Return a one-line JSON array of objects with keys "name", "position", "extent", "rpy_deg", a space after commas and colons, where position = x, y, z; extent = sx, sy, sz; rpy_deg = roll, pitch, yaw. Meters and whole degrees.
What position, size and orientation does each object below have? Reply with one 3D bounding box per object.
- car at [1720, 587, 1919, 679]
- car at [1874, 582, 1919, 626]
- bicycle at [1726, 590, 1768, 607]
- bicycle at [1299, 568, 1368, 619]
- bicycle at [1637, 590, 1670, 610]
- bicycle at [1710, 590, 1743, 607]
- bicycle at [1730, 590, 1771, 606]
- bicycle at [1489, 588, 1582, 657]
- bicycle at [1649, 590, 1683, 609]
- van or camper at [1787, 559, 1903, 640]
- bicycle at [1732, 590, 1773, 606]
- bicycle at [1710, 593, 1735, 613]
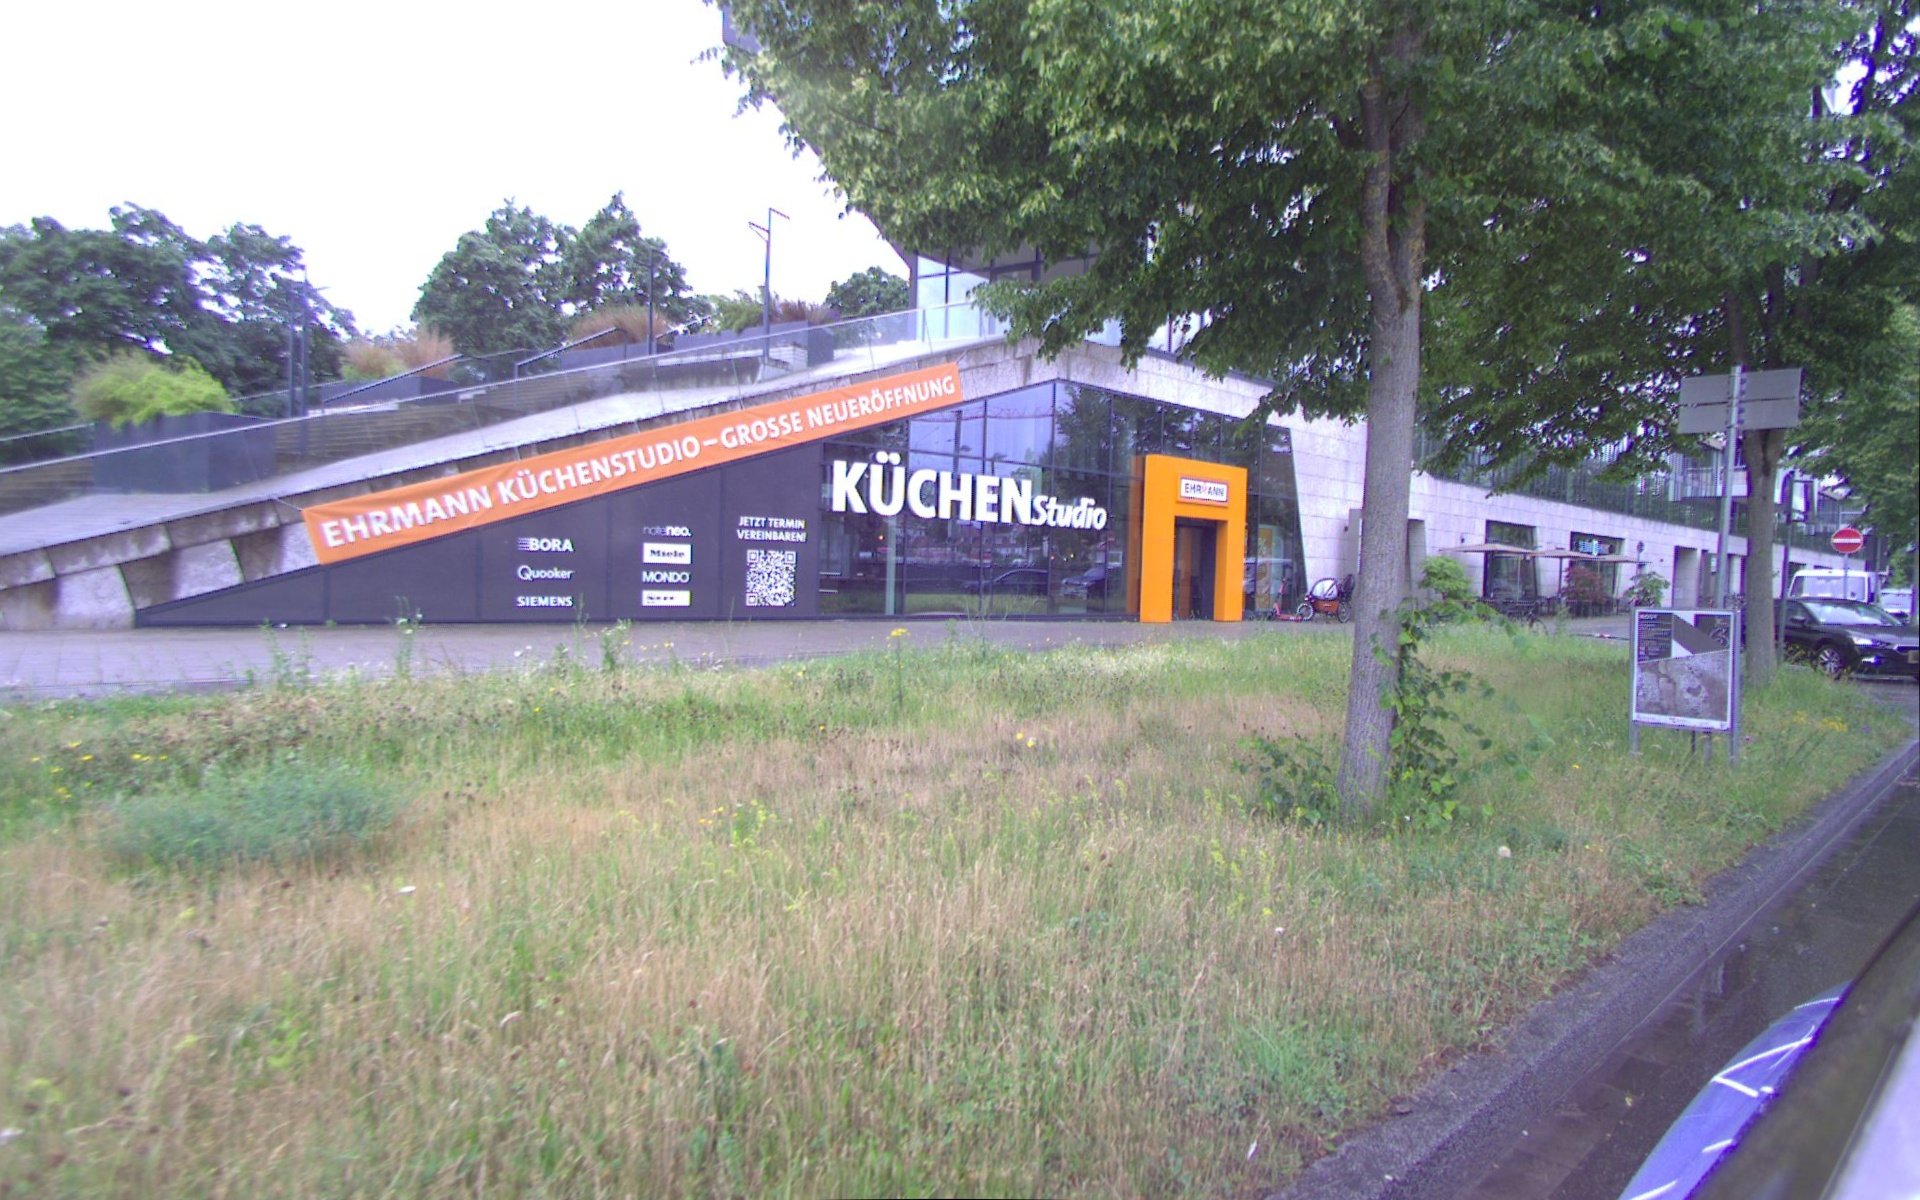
[{"name": "car", "position": [16.229, 0.515, 18.629], "extent": [1.804, 1.437, 4.333], "rpy_deg": [1, 2, 11]}, {"name": "car", "position": [40.875, 0.142, 43.582], "extent": [4.765, 1.781, 1.744], "rpy_deg": [-1, 2, -42]}, {"name": "bicycle", "position": [50.432, -0.119, 64.854], "extent": [0.389, 0.957, 2.025], "rpy_deg": [0, 3, -44]}, {"name": "bicycle", "position": [10.899, -0.176, 29.509], "extent": [2.382, 1.419, 0.734], "rpy_deg": [1, 3, -40]}, {"name": "bicycle", "position": [34.363, -0.024, 50.162], "extent": [0.388, 0.958, 2.027], "rpy_deg": [0, 0, 4]}, {"name": "bicycle", "position": [47.489, -0.110, 62.712], "extent": [0.339, 0.957, 1.665], "rpy_deg": [1, 3, -22]}, {"name": "bicycle", "position": [51.336, -0.127, 65.752], "extent": [0.389, 0.957, 2.025], "rpy_deg": [0, 3, -44]}, {"name": "bicycle", "position": [12.160, 0.447, 21.440], "extent": [0.521, 1.363, 1.852], "rpy_deg": [2, 0, -15]}, {"name": "bicycle", "position": [34.964, -0.029, 50.170], "extent": [0.388, 0.958, 2.027], "rpy_deg": [0, 0, 4]}, {"name": "van or camper", "position": [27.570, -0.072, 31.456], "extent": [5.366, 2.321, 2.029], "rpy_deg": [-1, 2, -42]}, {"name": "bicycle", "position": [51.768, -0.141, 66.124], "extent": [0.389, 0.957, 2.025], "rpy_deg": [0, 3, -44]}, {"name": "bicycle", "position": [37.880, 0.125, 50.292], "extent": [1.822, 0.957, 0.403], "rpy_deg": [0, 1, -34]}]
